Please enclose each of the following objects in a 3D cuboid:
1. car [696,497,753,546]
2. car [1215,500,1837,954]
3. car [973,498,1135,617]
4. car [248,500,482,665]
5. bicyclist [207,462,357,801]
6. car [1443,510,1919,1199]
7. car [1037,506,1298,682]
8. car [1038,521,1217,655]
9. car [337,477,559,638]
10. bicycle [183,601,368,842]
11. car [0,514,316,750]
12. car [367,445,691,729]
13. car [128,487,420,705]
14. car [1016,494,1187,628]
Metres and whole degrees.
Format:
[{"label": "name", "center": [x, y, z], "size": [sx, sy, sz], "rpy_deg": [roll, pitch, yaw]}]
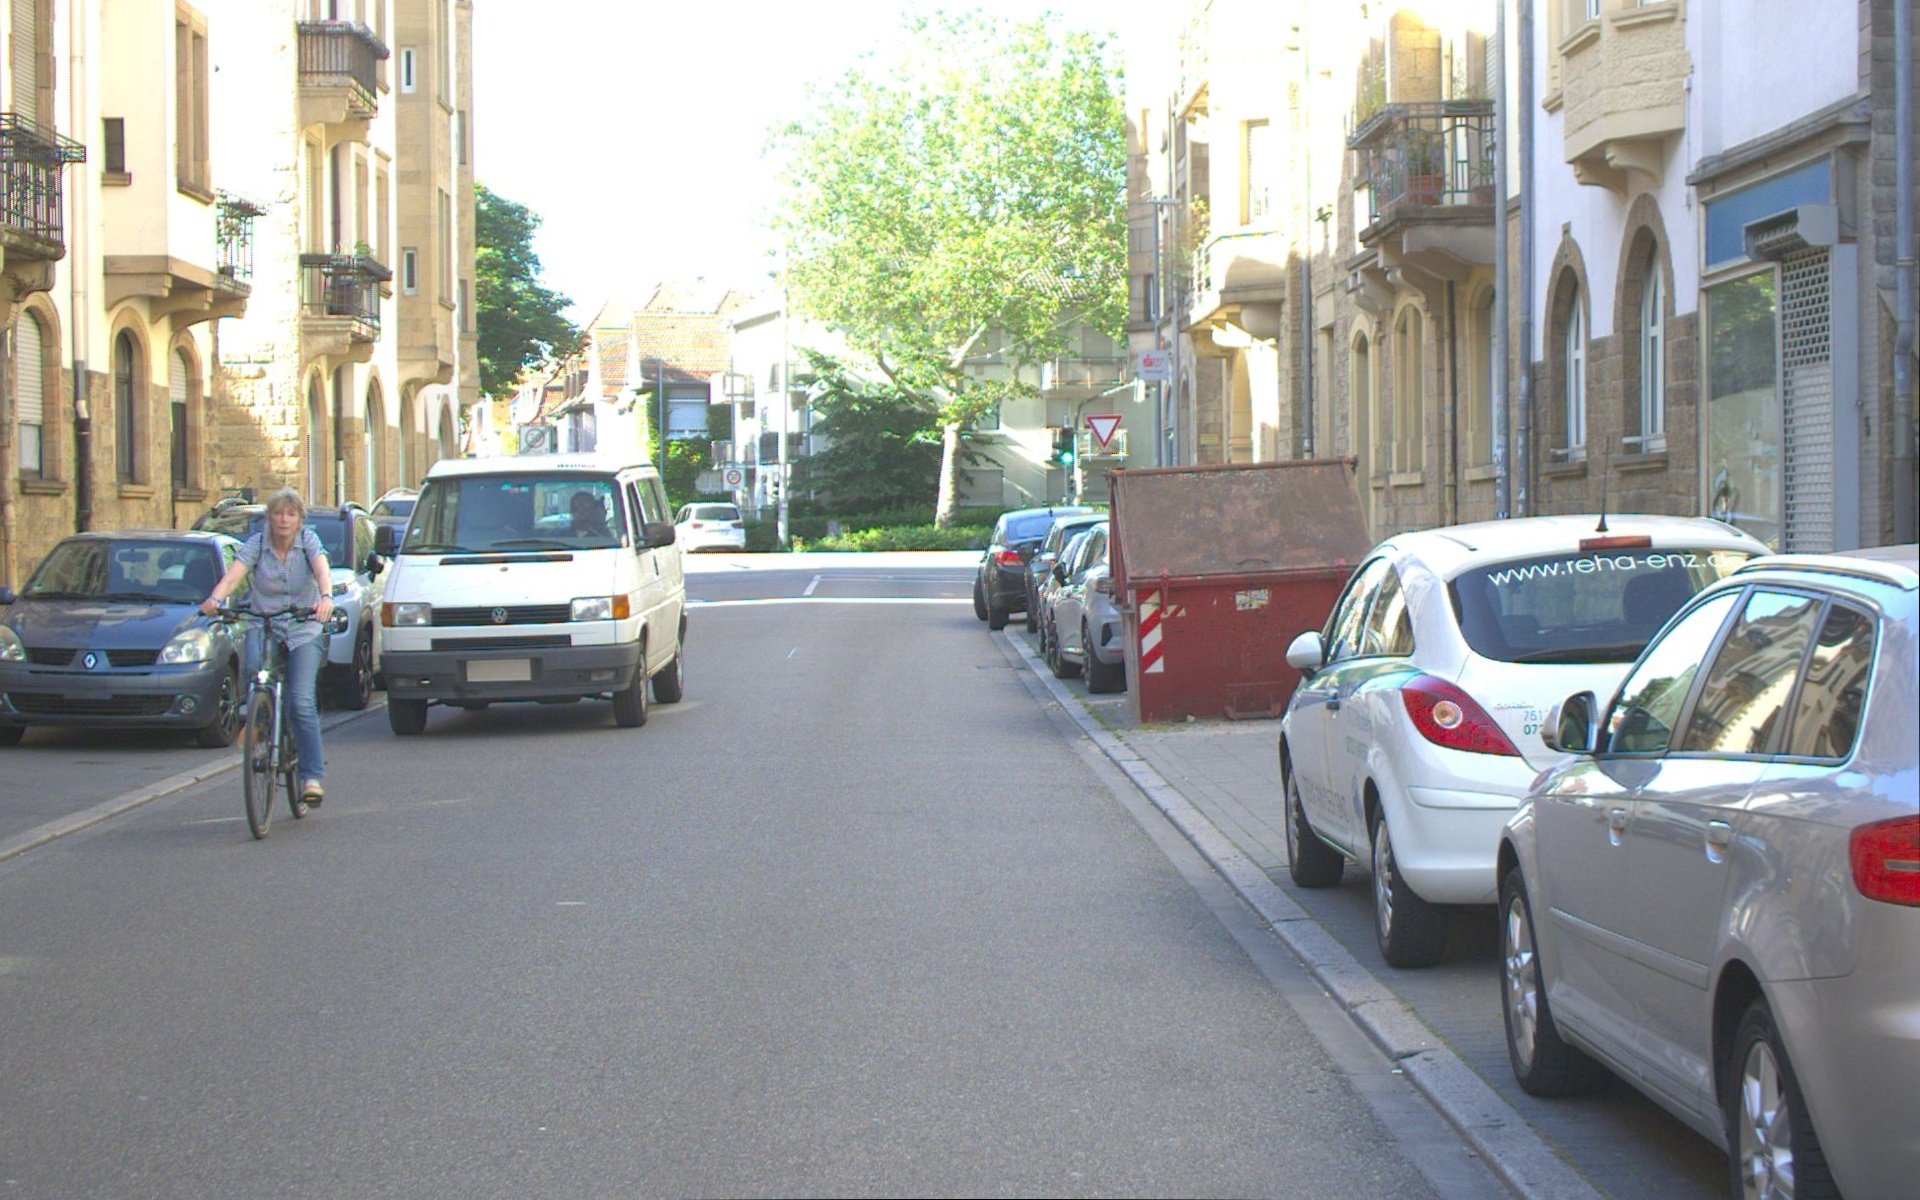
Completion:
[{"label": "car", "center": [-7.268, -2.427, 106.359], "size": [1.674, 1.477, 3.522], "rpy_deg": [0, 1, -3]}, {"label": "car", "center": [1.997, 0.363, 13.121], "size": [1.585, 1.459, 3.712], "rpy_deg": [-1, 2, -3]}, {"label": "car", "center": [1.168, -0.589, 44.615], "size": [1.865, 1.457, 4.340], "rpy_deg": [0, 2, -1]}, {"label": "car", "center": [-5.763, -0.223, 33.722], "size": [1.573, 1.482, 4.280], "rpy_deg": [1, 2, 0]}, {"label": "bicyclist", "center": [-3.370, 0.145, 17.123], "size": [0.608, 1.659, 0.632], "rpy_deg": [0, 2, 0]}, {"label": "car", "center": [2.256, 0.545, 7.738], "size": [1.652, 1.459, 4.095], "rpy_deg": [-1, 2, -1]}, {"label": "car", "center": [1.751, -0.103, 30.164], "size": [1.786, 1.425, 3.808], "rpy_deg": [0, 2, -4]}, {"label": "car", "center": [1.640, -0.162, 34.700], "size": [1.693, 1.250, 3.941], "rpy_deg": [0, 2, 1]}, {"label": "car", "center": [-6.003, -0.550, 40.839], "size": [1.892, 1.716, 4.726], "rpy_deg": [3, 2, -1]}, {"label": "bicycle", "center": [-3.364, 0.570, 17.026], "size": [0.540, 1.072, 1.800], "rpy_deg": [0, 2, 0]}, {"label": "car", "center": [-5.613, 0.158, 23.570], "size": [1.672, 1.388, 3.667], "rpy_deg": [3, 2, -1]}, {"label": "car", "center": [-3.122, -0.159, 25.774], "size": [1.863, 1.930, 4.600], "rpy_deg": [0, 2, 0]}, {"label": "car", "center": [-5.546, -0.095, 28.229], "size": [1.714, 1.578, 4.021], "rpy_deg": [3, 2, -3]}, {"label": "car", "center": [1.597, -0.497, 40.028], "size": [1.651, 1.437, 4.259], "rpy_deg": [-1, 2, -2]}]
